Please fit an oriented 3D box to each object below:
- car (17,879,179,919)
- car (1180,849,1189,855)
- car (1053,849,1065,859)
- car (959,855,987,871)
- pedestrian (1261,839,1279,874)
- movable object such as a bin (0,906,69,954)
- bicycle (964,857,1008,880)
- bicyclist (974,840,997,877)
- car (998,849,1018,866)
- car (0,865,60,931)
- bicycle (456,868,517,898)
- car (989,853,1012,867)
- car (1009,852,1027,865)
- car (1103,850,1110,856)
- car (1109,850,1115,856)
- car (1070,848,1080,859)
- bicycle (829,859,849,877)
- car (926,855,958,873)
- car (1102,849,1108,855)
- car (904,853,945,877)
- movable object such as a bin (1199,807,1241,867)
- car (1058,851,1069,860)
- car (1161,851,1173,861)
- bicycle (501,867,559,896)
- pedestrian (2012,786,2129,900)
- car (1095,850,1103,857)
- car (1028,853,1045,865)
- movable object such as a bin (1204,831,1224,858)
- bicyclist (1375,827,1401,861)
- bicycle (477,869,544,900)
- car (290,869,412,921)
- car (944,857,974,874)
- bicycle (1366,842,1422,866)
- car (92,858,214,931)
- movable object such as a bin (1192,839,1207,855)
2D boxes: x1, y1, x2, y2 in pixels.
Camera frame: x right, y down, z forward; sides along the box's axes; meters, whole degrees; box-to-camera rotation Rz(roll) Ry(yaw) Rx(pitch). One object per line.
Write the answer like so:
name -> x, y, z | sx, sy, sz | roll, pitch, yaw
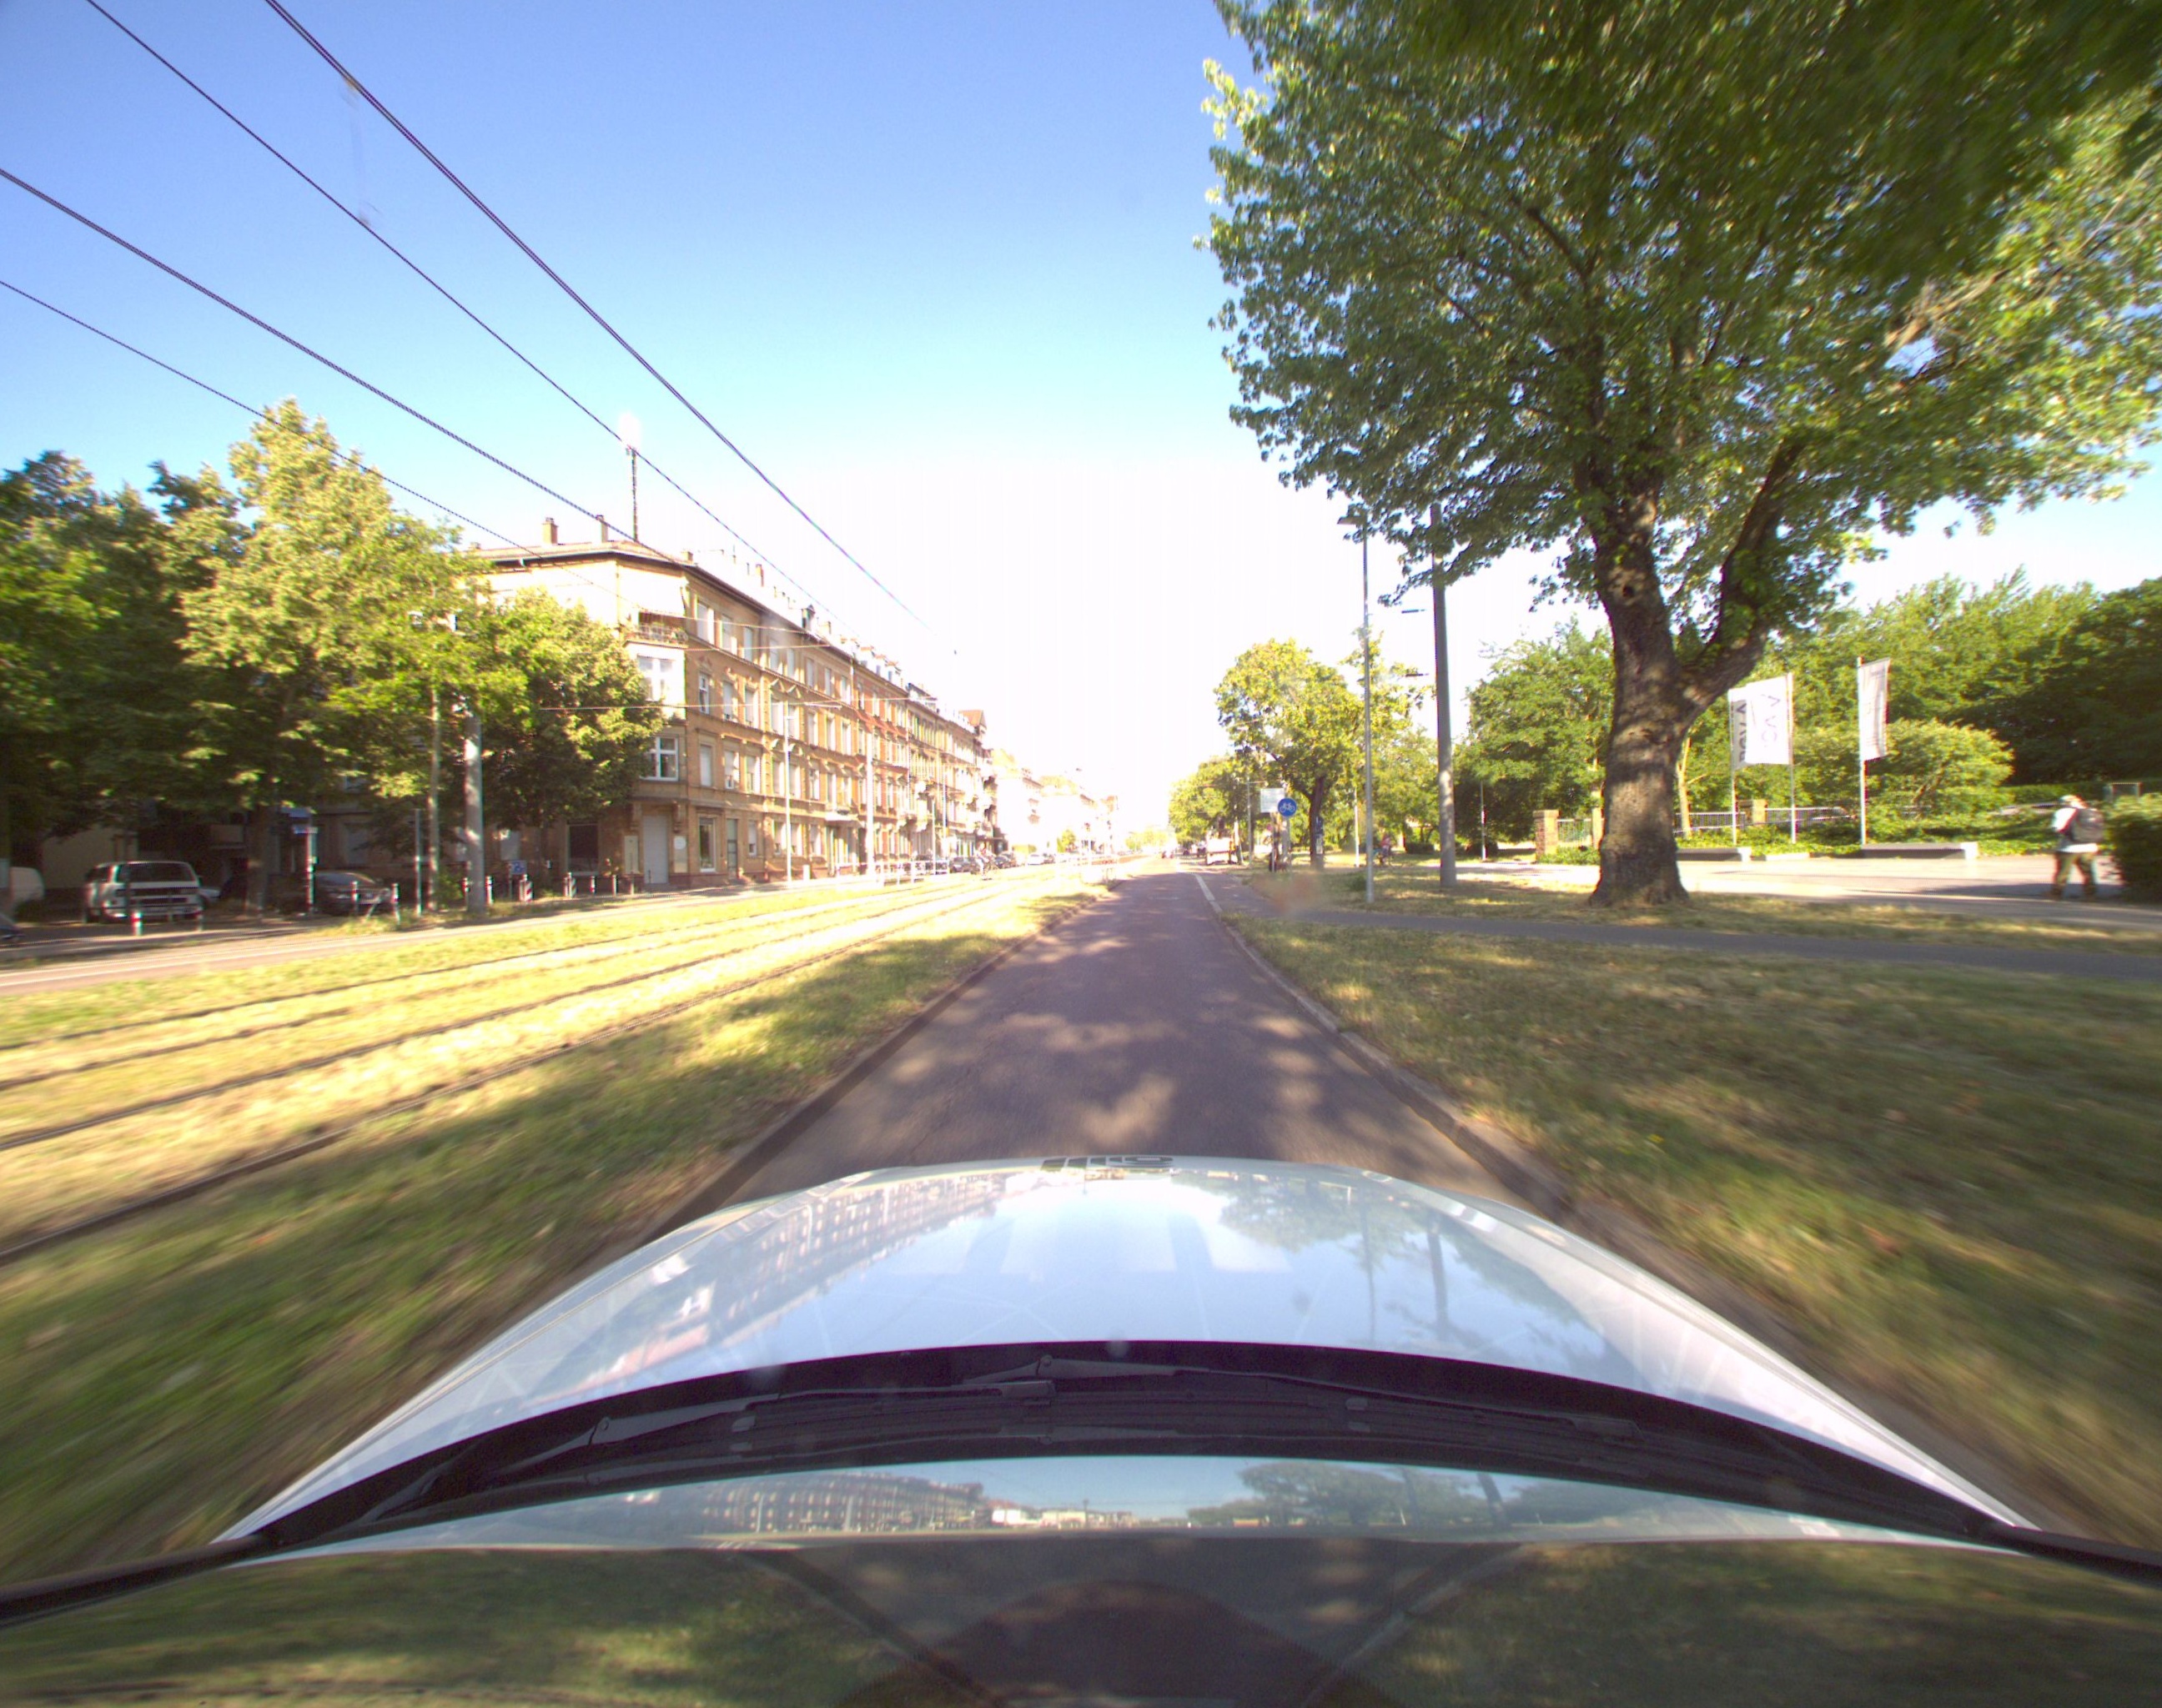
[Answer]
car -> -38.864, 1.774, 32.281 | 4.160, 1.471, 2.002 | 0, 0, 3
car -> 30.223, -0.667, 238.107 | 1.987, 1.859, 4.000 | 0, 0, 0
car -> -3.723, -0.048, 135.978 | 1.519, 1.560, 3.229 | 0, 1, 6
car -> -10.568, 0.858, 79.818 | 1.767, 1.406, 3.916 | 0, 1, 6
pedestrian -> 9.150, 0.130, 39.449 | 0.657, 1.647, 0.864 | -4, 0, 7
movable object such as a bin -> -21.471, 1.504, 16.155 | 1.239, 0.865, 1.238 | 0, 0, 4
bicycle -> -4.541, 0.678, 39.017 | 1.943, 1.040, 0.768 | -2, 0, 6
bicyclist -> -4.566, 0.207, 39.009 | 0.914, 1.715, 0.768 | -2, 0, 7
car -> -8.532, 0.419, 95.672 | 1.554, 1.853, 3.907 | 0, 1, 6
car -> -34.683, 1.374, 25.447 | 2.076, 1.917, 4.957 | 0, 0, -34
bicycle -> -25.027, 1.200, 34.326 | 0.781, 1.179, 2.243 | 0, 0, 5
car -> -8.852, 0.655, 90.043 | 1.767, 1.406, 3.986 | 0, 1, 6
car -> -7.896, 0.576, 102.539 | 1.554, 1.457, 3.672 | 0, 1, 6
car -> 6.870, -0.249, 220.215 | 1.519, 1.560, 3.229 | 0, 1, 6
car -> 9.185, -0.333, 241.404 | 1.519, 1.610, 3.229 | 0, 1, 6
car -> -1.130, -0.174, 159.980 | 1.649, 2.139, 3.532 | 0, 1, 6
bicycle -> -16.995, 0.971, 57.181 | 0.695, 1.180, 1.754 | 0, 0, 7
car -> -11.910, 0.813, 70.028 | 1.766, 1.466, 3.538 | 0, 0, 6
car -> 6.774, -0.665, 229.154 | 1.519, 1.610, 3.229 | 0, 1, 6
car -> -12.487, 0.820, 65.256 | 2.005, 1.753, 4.567 | 0, 1, 6
movable object such as a bin -> 13.026, -1.517, 76.938 | 3.071, 5.088, 8.908 | -4, 0, 6
car -> -3.069, 0.252, 140.897 | 1.519, 1.560, 3.229 | 0, 1, 6
car -> 14.799, 0.263, 140.302 | 1.983, 1.684, 4.008 | 0, 0, 7
bicycle -> -24.112, 1.197, 35.718 | 0.781, 1.179, 2.245 | 0, 0, 8
pedestrian -> 14.030, -0.147, 11.568 | 0.646, 1.539, 0.785 | -3, 0, 7
car -> 4.484, -0.137, 203.411 | 1.519, 1.560, 3.229 | 0, 1, 6
car -> -6.300, 0.666, 115.315 | 1.732, 1.560, 3.774 | 0, 1, 6
movable object such as a bin -> 15.911, -1.084, 97.800 | 1.958, 3.013, 4.805 | -4, 0, 6
bicyclist -> 14.149, -0.455, 37.523 | 0.898, 1.496, 0.768 | -2, 0, 6
bicycle -> -23.821, 1.248, 34.052 | 0.779, 1.179, 2.251 | 0, 0, 18
car -> -23.236, 1.248, 25.891 | 4.138, 1.471, 2.013 | -1, 0, 35
car -> -11.205, 1.015, 74.959 | 1.767, 1.406, 3.916 | 0, 1, 6
bicycle -> 14.392, -0.013, 37.502 | 2.249, 1.040, 0.768 | -2, 0, 5
car -> -28.839, 1.158, 25.274 | 4.555, 2.013, 2.013 | 1, 0, 35
movable object such as a bin -> 22.434, -1.314, 153.917 | 2.454, 2.906, 4.007 | -4, 0, 6
